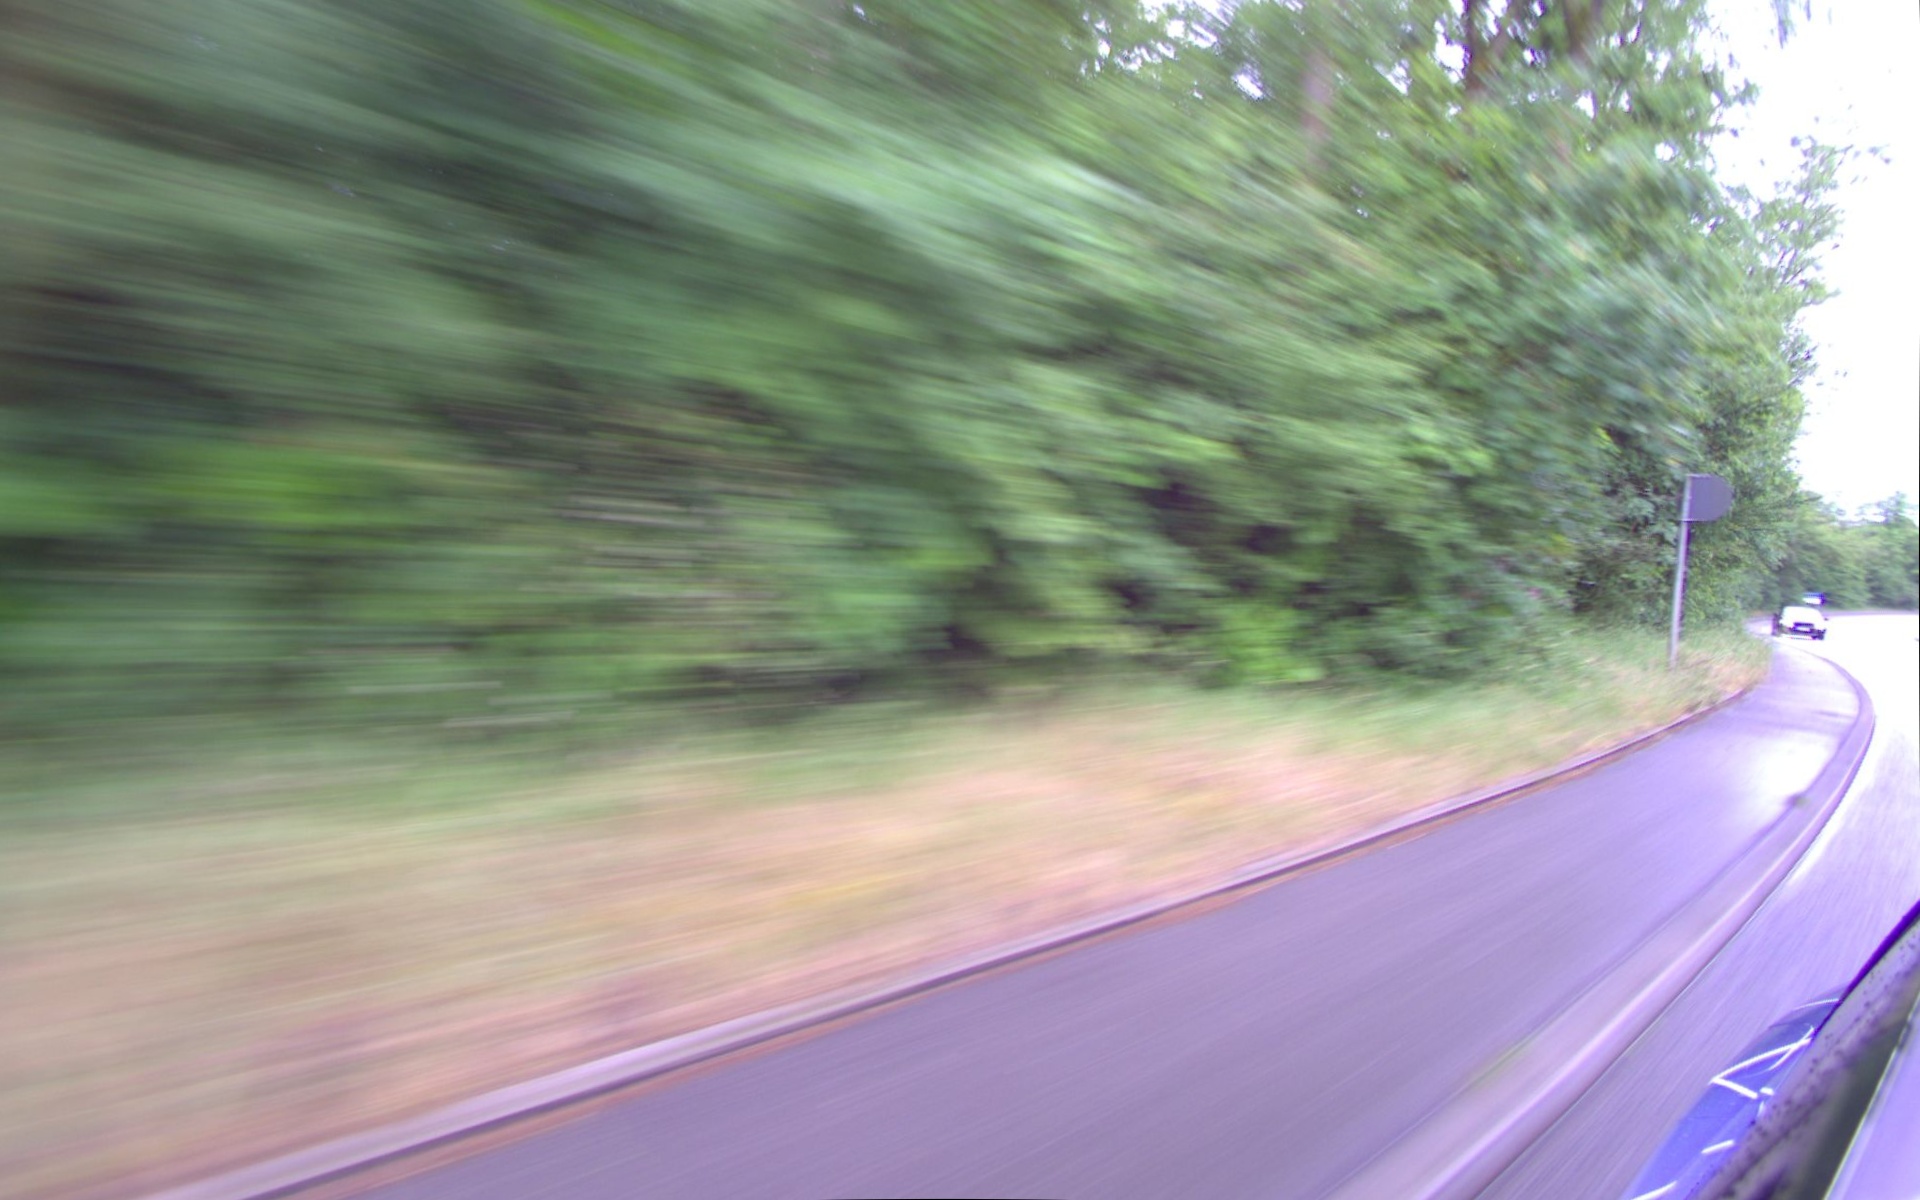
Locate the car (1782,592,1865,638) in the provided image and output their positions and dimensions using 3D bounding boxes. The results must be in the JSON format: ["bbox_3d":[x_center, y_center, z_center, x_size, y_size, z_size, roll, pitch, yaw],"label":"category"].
[{"bbox_3d":[39.813,0.705,46.660,3.924,1.536,1.837,5,7,-36],"label":"car"}]
